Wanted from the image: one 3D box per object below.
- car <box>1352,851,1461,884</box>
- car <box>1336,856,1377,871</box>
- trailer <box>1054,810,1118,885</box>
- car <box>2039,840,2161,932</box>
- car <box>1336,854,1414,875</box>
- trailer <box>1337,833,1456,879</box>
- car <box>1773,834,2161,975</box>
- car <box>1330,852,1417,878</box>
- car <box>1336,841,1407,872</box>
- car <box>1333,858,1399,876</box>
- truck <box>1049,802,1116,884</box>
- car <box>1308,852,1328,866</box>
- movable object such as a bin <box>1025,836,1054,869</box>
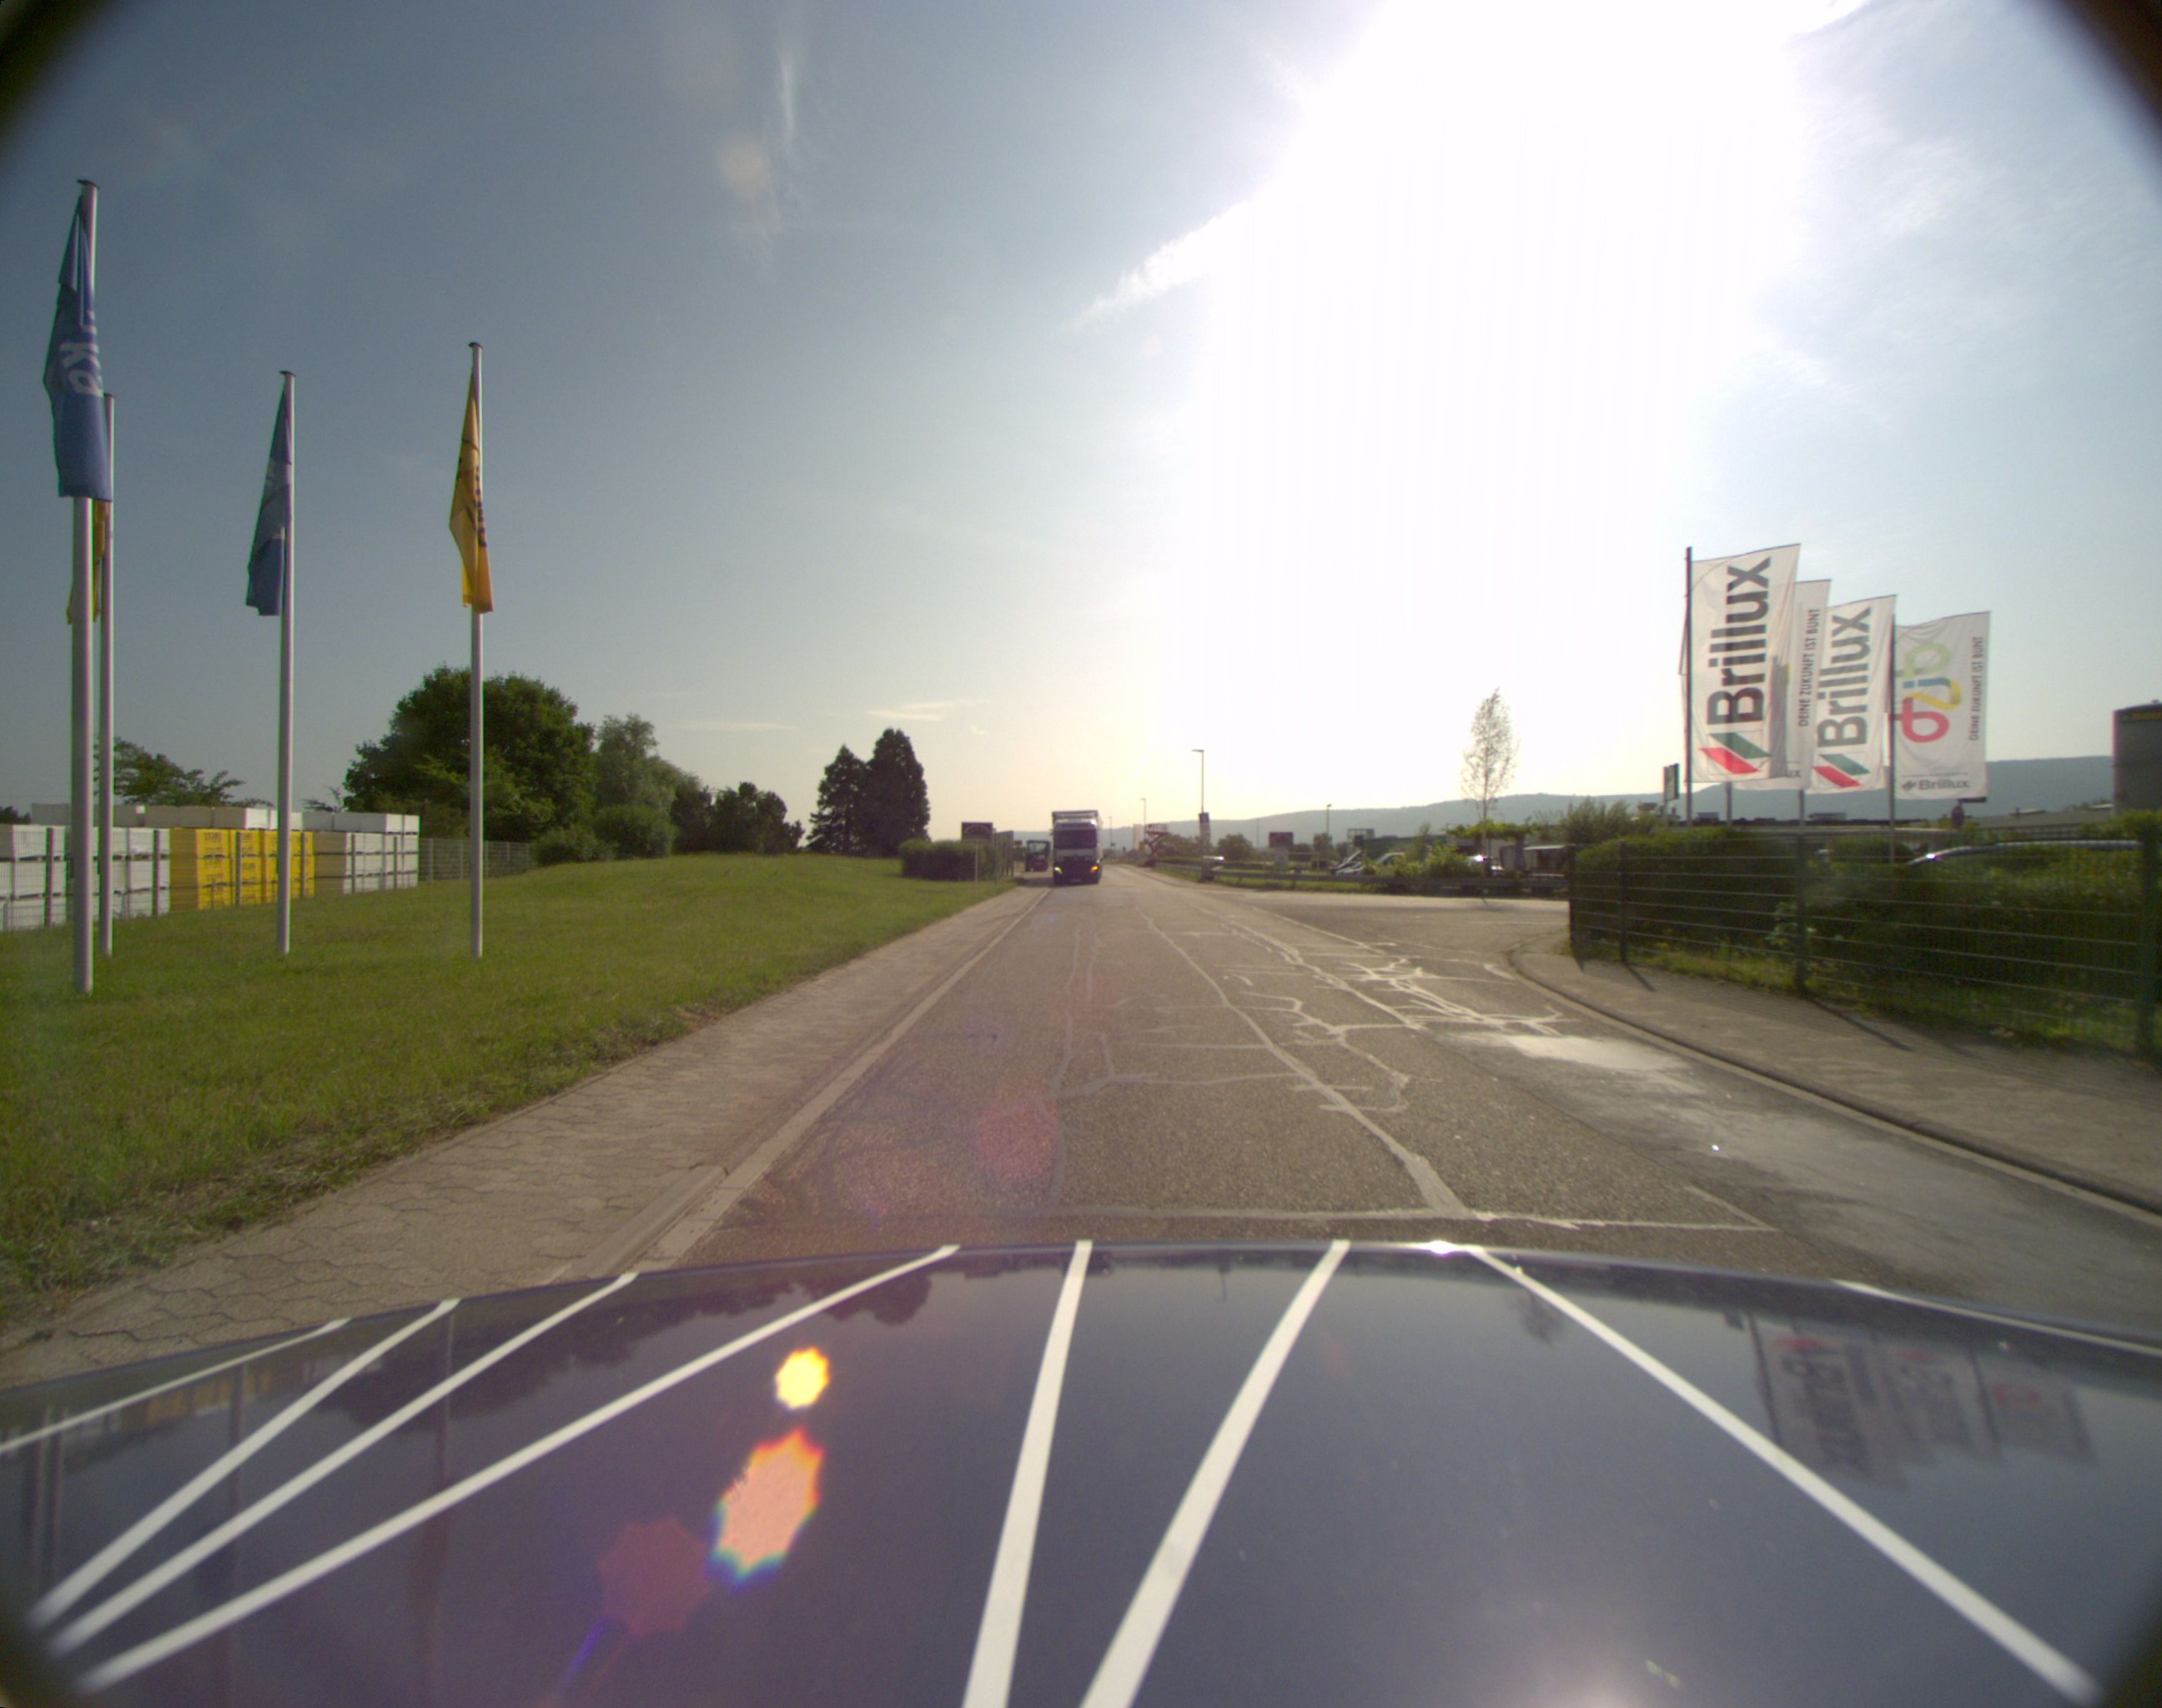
[{"bbox_3d":[18.328,0.750,43.012,5.272,1.696,2.001,1,0,7],"label":"car"},{"bbox_3d":[28.302,0.969,78.089,3.681,1.512,1.686,1,0,12],"label":"car"},{"bbox_3d":[0.436,-0.502,50.542,3.497,4.183,14.232,-2,1,1],"label":"trailer"},{"bbox_3d":[22.568,0.619,14.622,4.654,1.742,2.155,0,0,22],"label":"car"},{"bbox_3d":[20.257,0.725,52.528,4.956,1.309,1.782,1,-1,19],"label":"car"},{"bbox_3d":[19.130,0.104,46.443,6.315,2.589,2.857,2,1,14],"label":"trailer"},{"bbox_3d":[13.257,0.614,10.985,1.961,1.686,4.499,-3,1,-35],"label":"car"},{"bbox_3d":[19.014,0.746,49.547,5.131,1.525,2.181,1,-1,19],"label":"car"},{"bbox_3d":[24.220,0.207,63.523,5.394,2.358,2.298,1,-1,19],"label":"car"},{"bbox_3d":[21.954,0.997,58.626,4.686,1.212,1.834,1,-1,19],"label":"car"},{"bbox_3d":[0.106,-0.621,42.749,3.395,4.183,6.097,-2,1,1],"label":"truck"},{"bbox_3d":[34.237,0.734,109.815,1.997,2.002,4.160,1,0,9],"label":"car"},{"bbox_3d":[-4.093,-0.183,73.626,2.436,2.994,5.750,1,0,-7],"label":"movable object such as a bin"}]
